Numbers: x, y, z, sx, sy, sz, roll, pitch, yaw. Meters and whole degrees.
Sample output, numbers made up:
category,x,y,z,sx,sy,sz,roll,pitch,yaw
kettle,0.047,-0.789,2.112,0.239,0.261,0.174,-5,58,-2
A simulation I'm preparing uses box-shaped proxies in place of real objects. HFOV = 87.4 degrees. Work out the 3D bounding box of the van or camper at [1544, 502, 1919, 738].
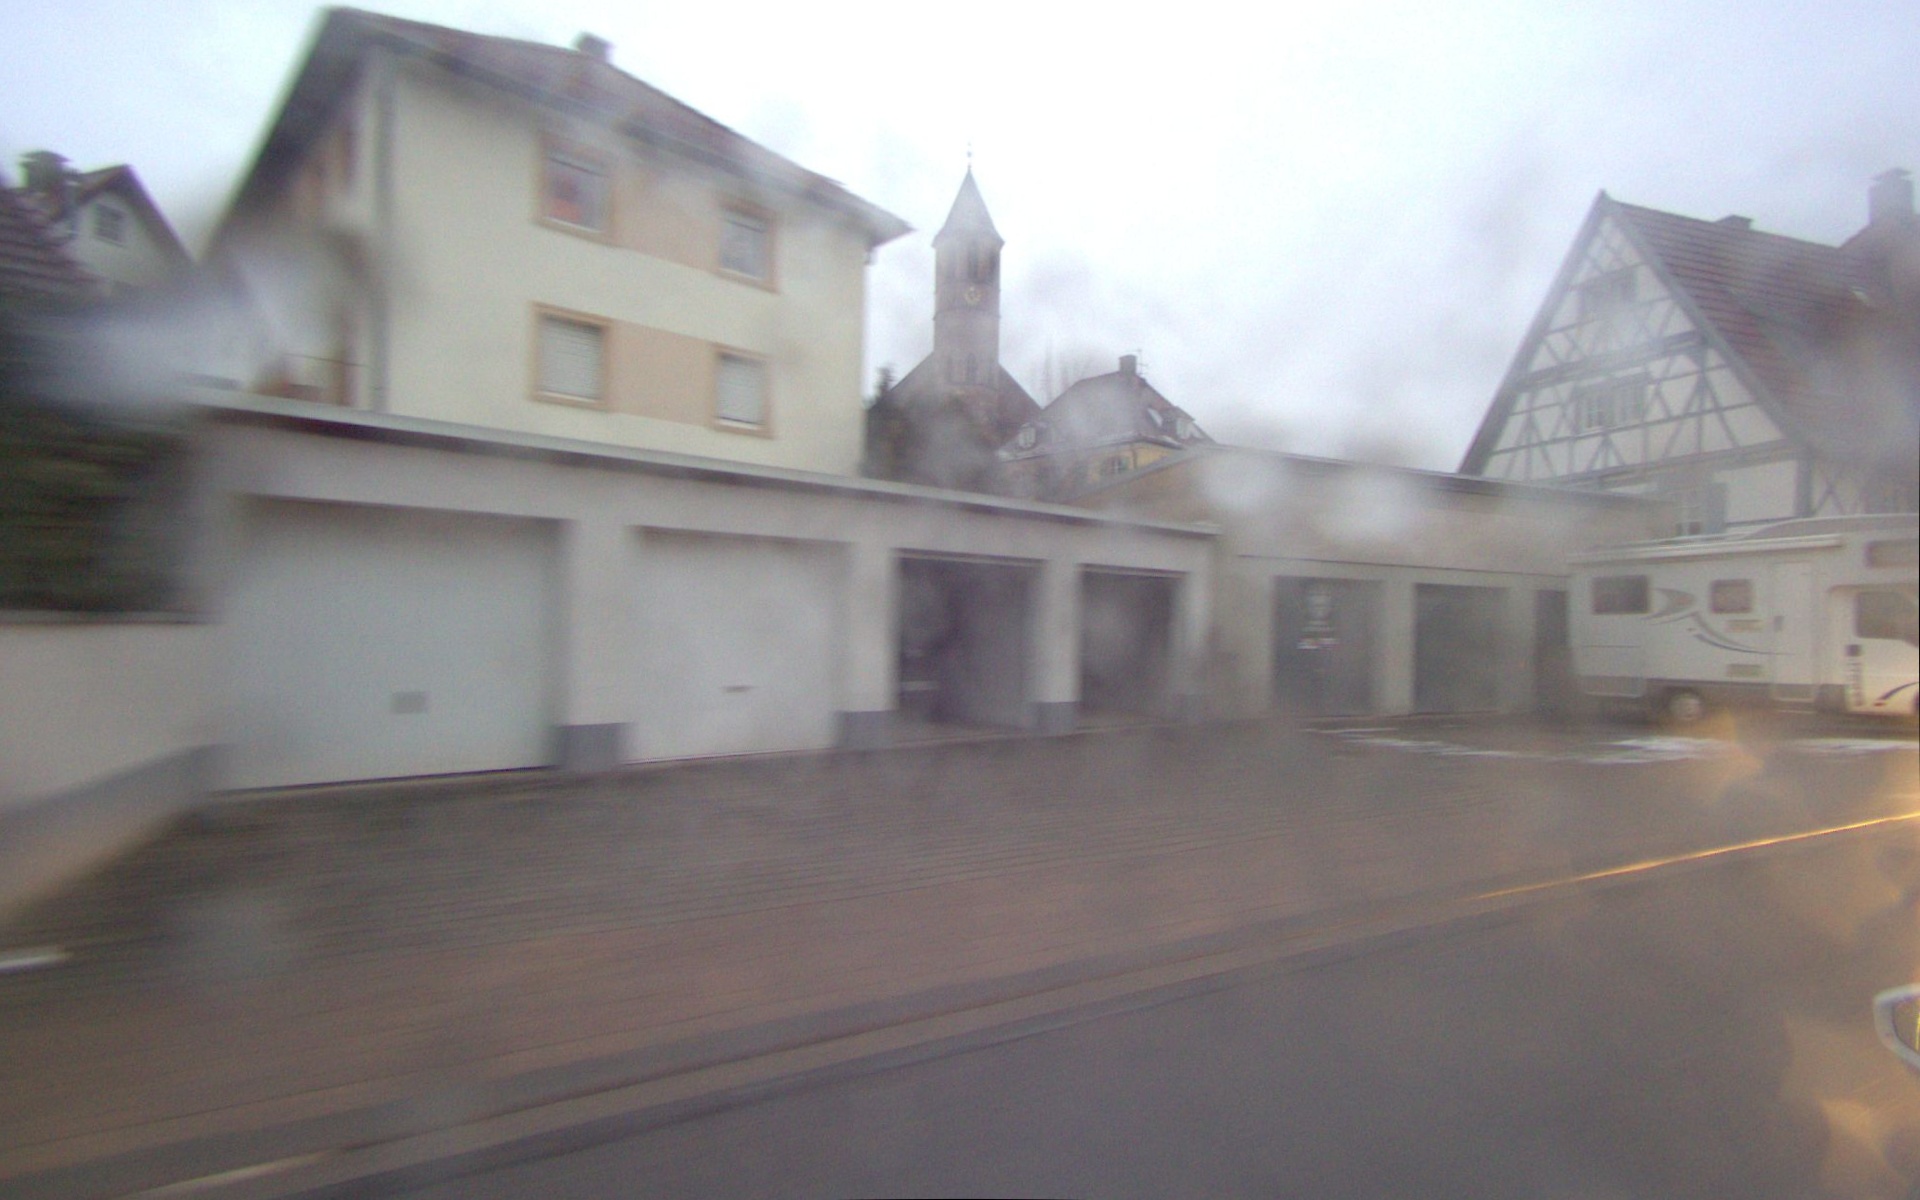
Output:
category,x,y,z,sx,sy,sz,roll,pitch,yaw
van or camper,12.480,0.403,15.190,2.372,2.993,6.049,1,-4,-23

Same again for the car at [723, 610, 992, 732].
category,x,y,z,sx,sy,sz,roll,pitch,yaw
car,-1.554,0.866,13.959,1.981,1.421,3.958,1,-1,-37
